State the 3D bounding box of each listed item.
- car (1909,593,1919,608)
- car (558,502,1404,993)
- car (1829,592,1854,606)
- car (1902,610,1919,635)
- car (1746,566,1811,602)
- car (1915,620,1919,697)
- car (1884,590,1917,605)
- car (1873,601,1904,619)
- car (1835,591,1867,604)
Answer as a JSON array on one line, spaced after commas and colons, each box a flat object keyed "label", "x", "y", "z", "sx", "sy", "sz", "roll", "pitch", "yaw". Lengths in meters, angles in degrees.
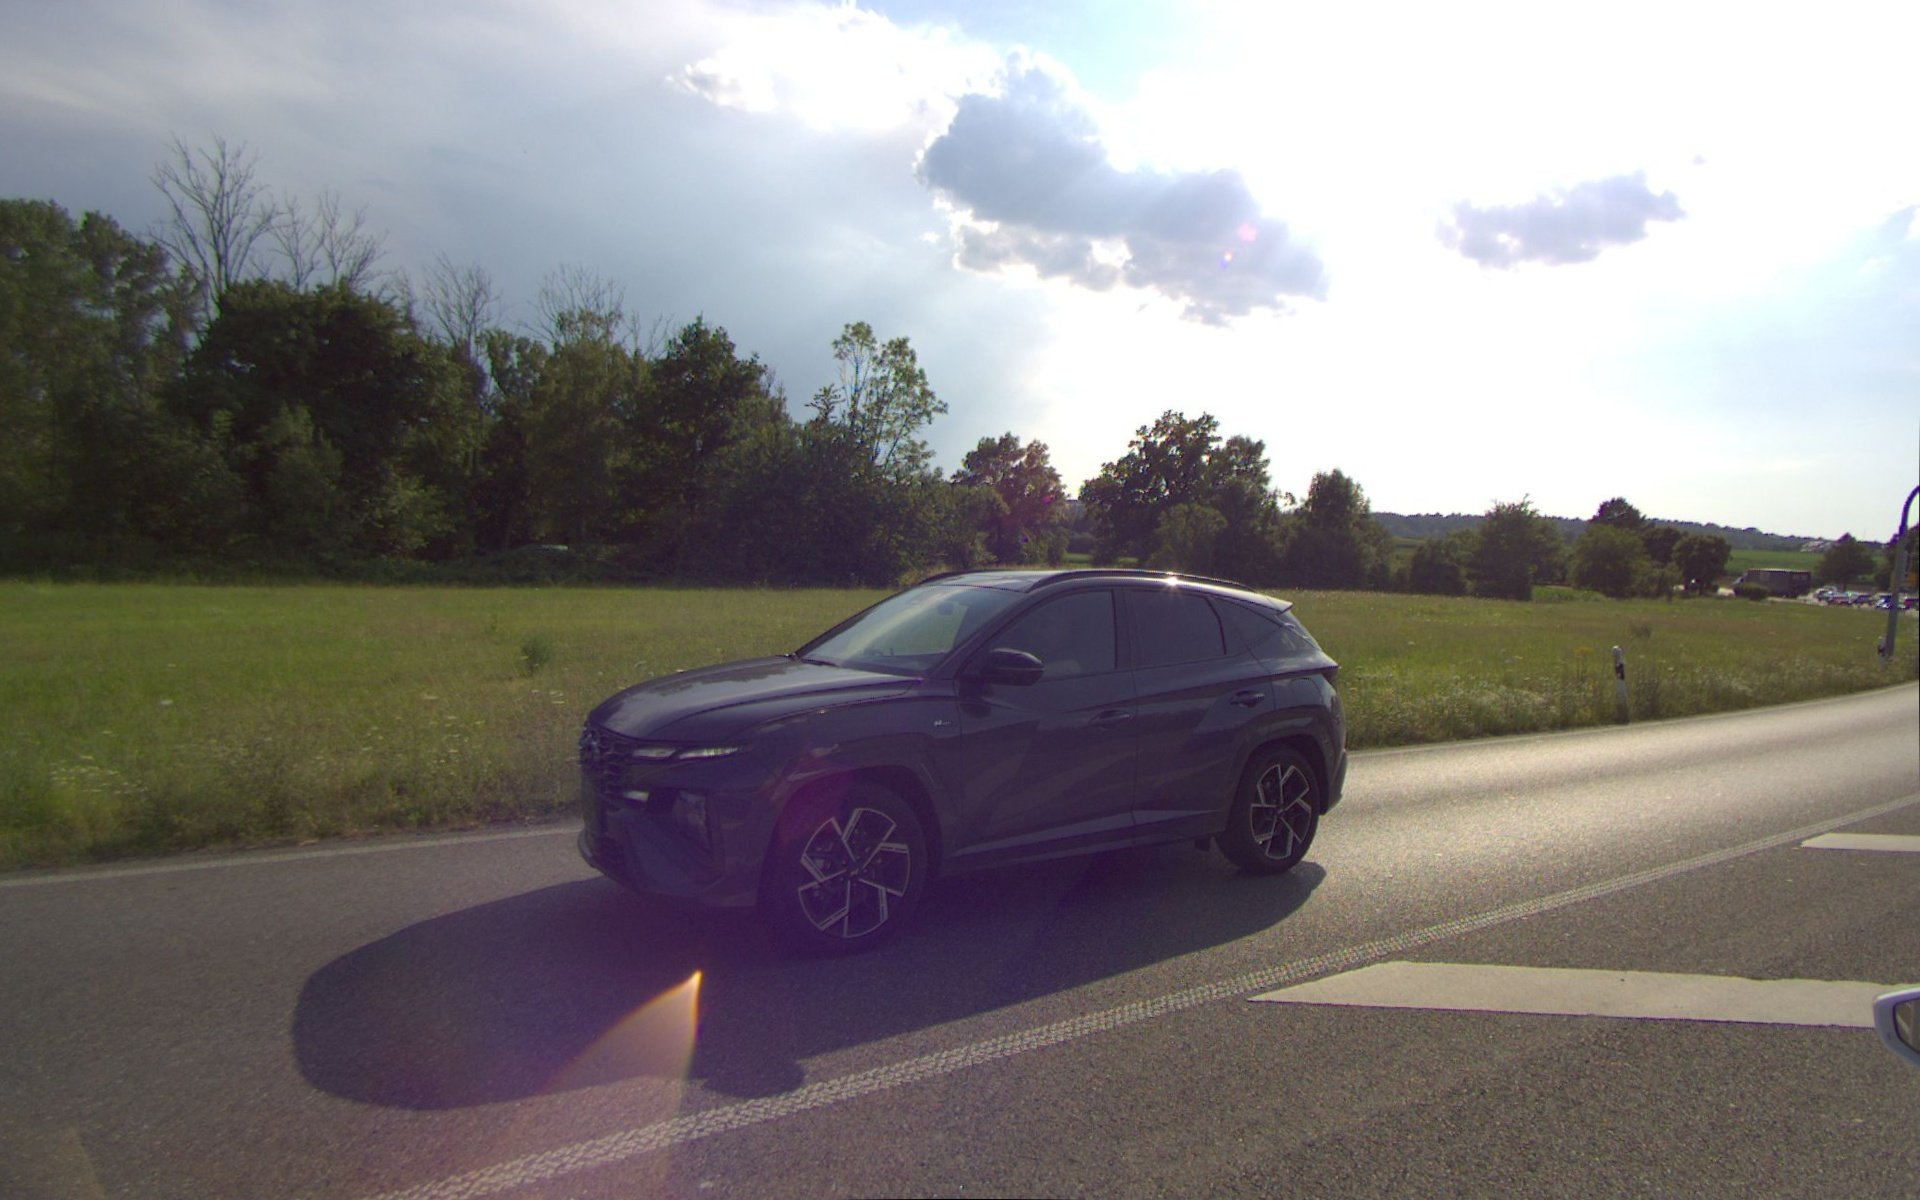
[{"label": "car", "x": 107.464, "y": 0.115, "z": 111.511, "sx": 2.054, "sy": 1.621, "sz": 3.992, "roll": 3, "pitch": 2, "yaw": 30}, {"label": "car", "x": 0.270, "y": 0.513, "z": 5.617, "sx": 4.379, "sy": 1.748, "sz": 1.981, "roll": 0, "pitch": 2, "yaw": -34}, {"label": "car", "x": 103.848, "y": -0.108, "z": 118.400, "sx": 1.858, "sy": 1.621, "sz": 3.984, "roll": 3, "pitch": 2, "yaw": 38}, {"label": "car", "x": 65.882, "y": 1.544, "z": 68.536, "sx": 1.858, "sy": 1.621, "sz": 3.983, "roll": 3, "pitch": 2, "yaw": 38}, {"label": "car", "x": 125.897, "y": -2.423, "z": 154.762, "sx": 3.483, "sy": 5.127, "sz": 13.238, "roll": 3, "pitch": 1, "yaw": 21}, {"label": "car", "x": 20.076, "y": 1.154, "z": 19.448, "sx": 3.714, "sy": 1.455, "sz": 1.708, "roll": 2, "pitch": -1, "yaw": -37}, {"label": "car", "x": 110.646, "y": -0.298, "z": 118.222, "sx": 1.853, "sy": 1.621, "sz": 3.994, "roll": 3, "pitch": 2, "yaw": 28}, {"label": "car", "x": 93.123, "y": 0.988, "z": 100.741, "sx": 1.858, "sy": 1.621, "sz": 3.984, "roll": 3, "pitch": 2, "yaw": 38}, {"label": "car", "x": 116.820, "y": -0.363, "z": 131.745, "sx": 1.851, "sy": 1.621, "sz": 3.998, "roll": 3, "pitch": 1, "yaw": 22}]
